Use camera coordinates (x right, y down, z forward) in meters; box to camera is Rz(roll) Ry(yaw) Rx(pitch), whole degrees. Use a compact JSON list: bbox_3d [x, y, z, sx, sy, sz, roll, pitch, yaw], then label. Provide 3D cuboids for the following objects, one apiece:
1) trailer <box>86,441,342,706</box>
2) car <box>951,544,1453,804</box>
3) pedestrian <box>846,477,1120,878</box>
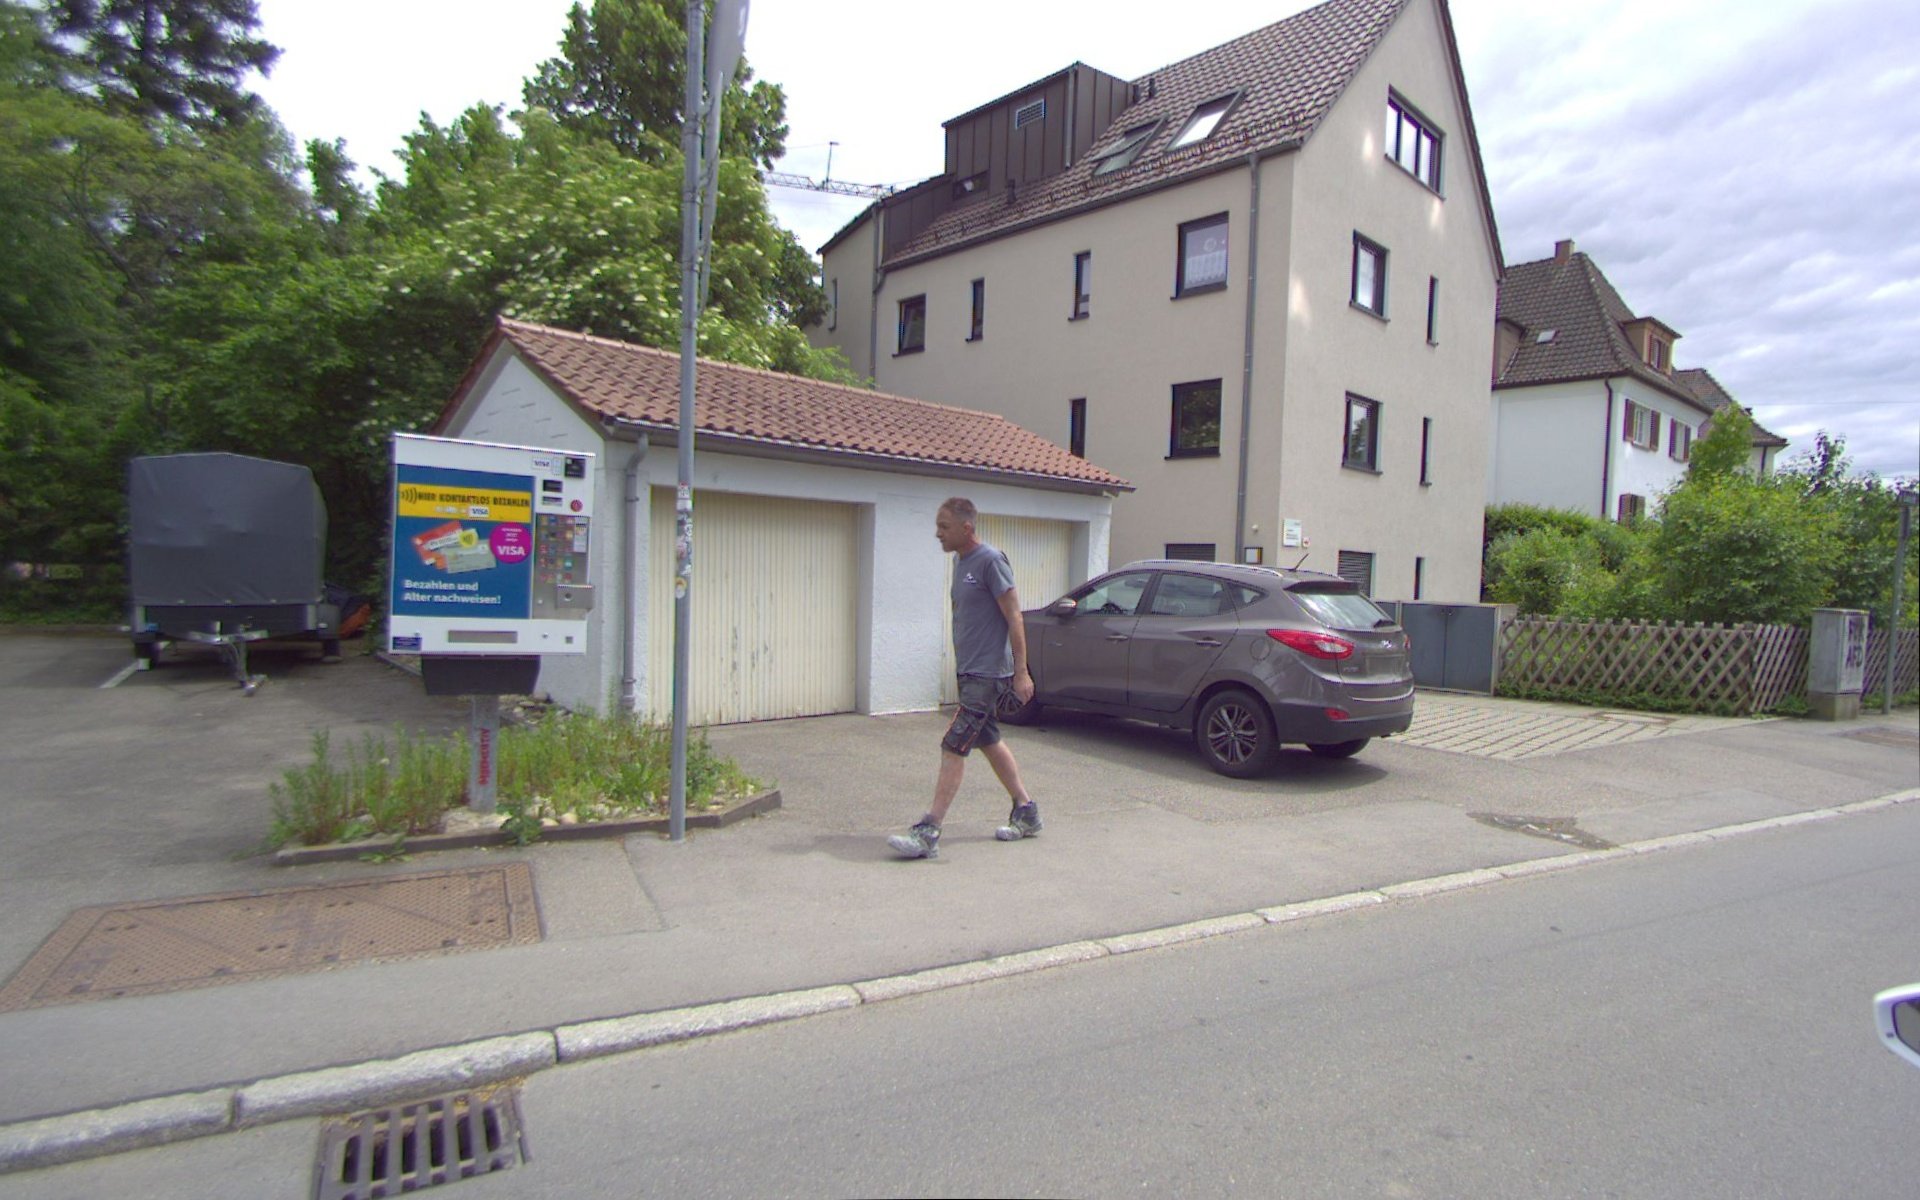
[{"bbox_3d":[-7.477,-0.392,10.508,1.685,2.108,4.834,-1,5,-32],"label":"trailer"},{"bbox_3d":[1.992,0.454,9.411,1.783,1.718,4.274,1,4,-40],"label":"car"},{"bbox_3d":[0.111,0.380,5.493,1.201,1.972,0.730,2,4,-26],"label":"pedestrian"}]
